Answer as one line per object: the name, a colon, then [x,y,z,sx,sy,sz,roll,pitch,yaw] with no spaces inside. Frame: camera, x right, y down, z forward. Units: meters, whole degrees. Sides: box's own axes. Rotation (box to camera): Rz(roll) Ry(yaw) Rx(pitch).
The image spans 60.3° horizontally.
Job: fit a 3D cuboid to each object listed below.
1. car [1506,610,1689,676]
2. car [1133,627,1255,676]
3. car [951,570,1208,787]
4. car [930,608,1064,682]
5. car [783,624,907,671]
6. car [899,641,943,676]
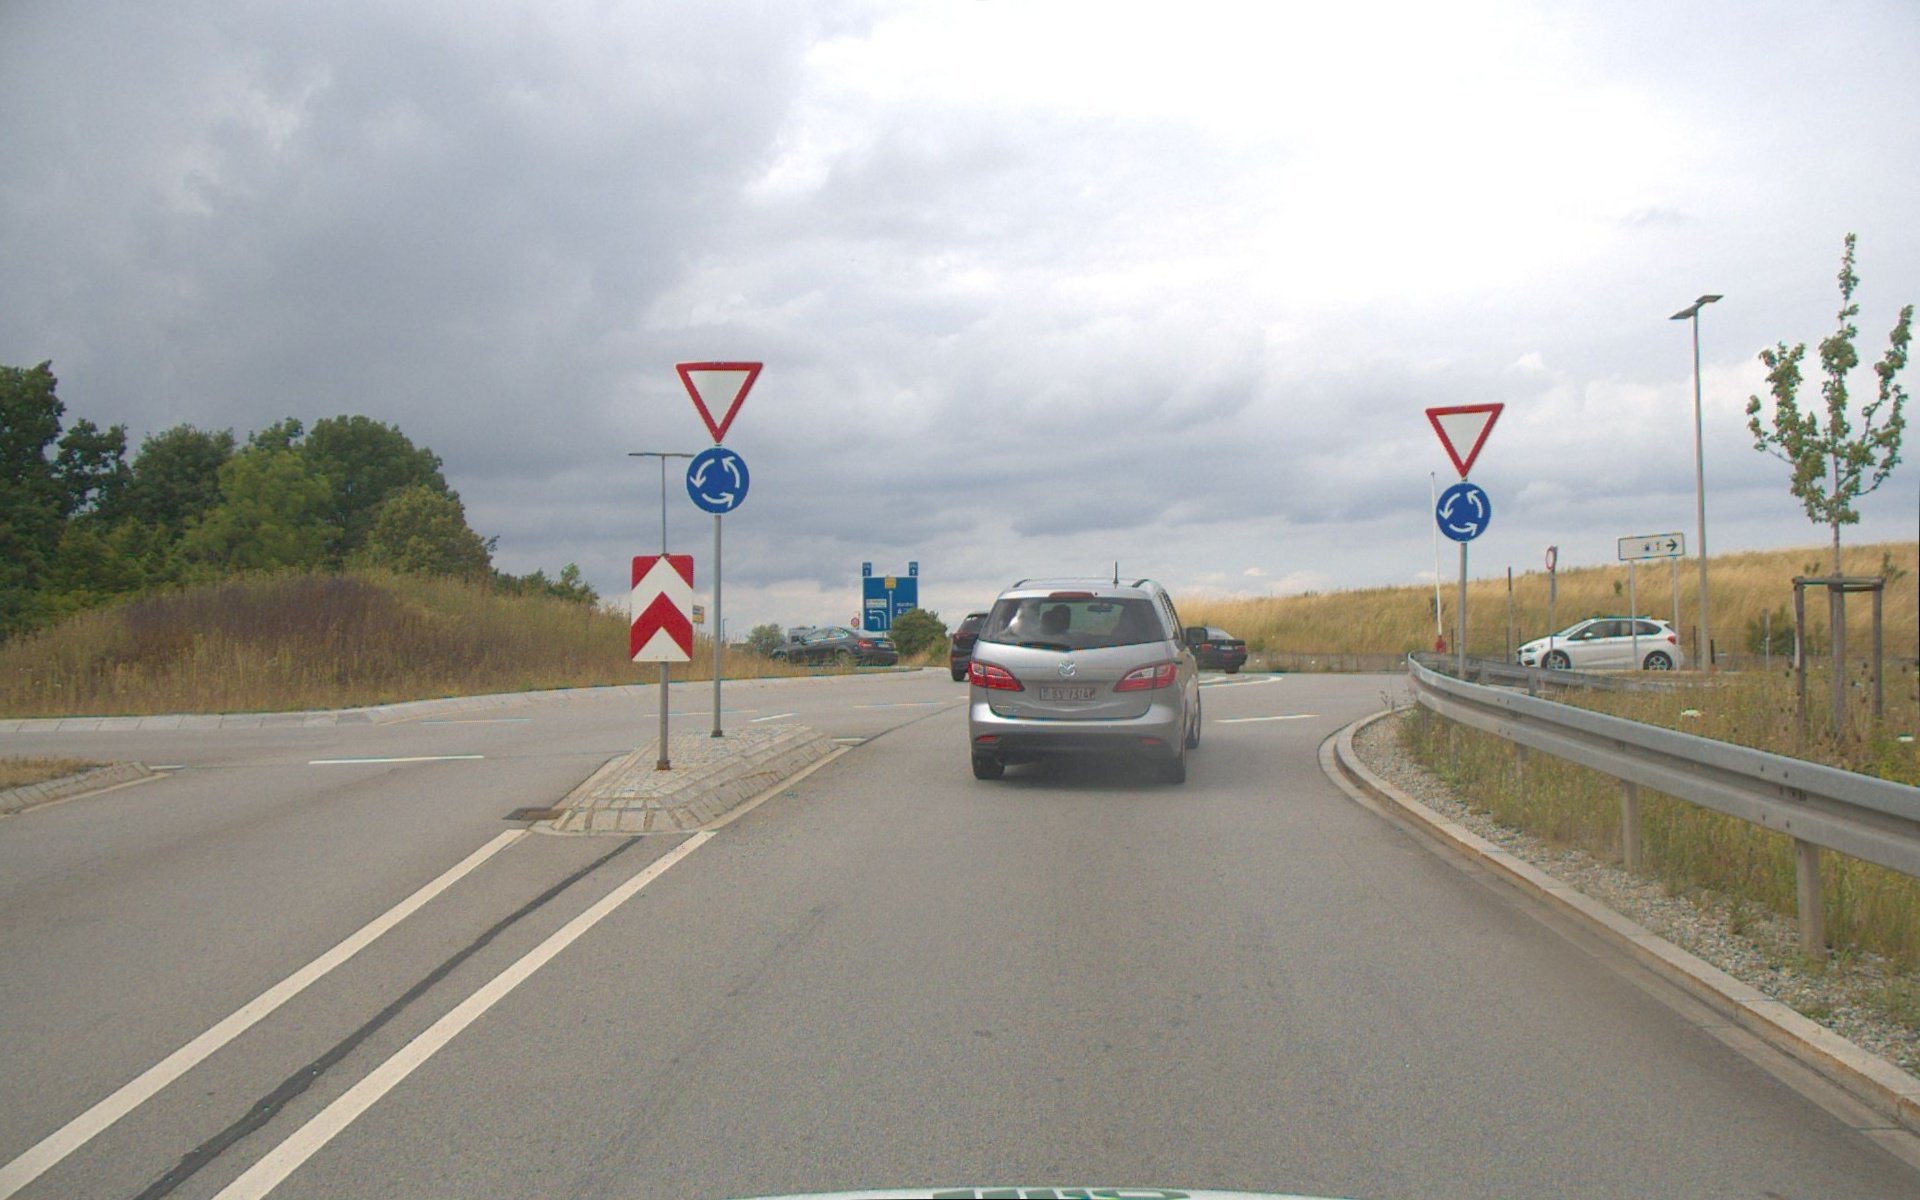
car: [17.199,1.147,44.794,4.319,1.657,1.786,-1,0,8]
car: [6.784,1.496,48.391,1.578,1.311,4.013,-2,-1,-25]
car: [1.180,0.587,14.336,1.870,1.601,4.003,-1,0,9]
car: [0.837,0.915,34.918,1.627,1.402,4.001,-2,-1,19]
car: [-3.612,1.490,51.584,3.931,1.363,1.654,-2,-1,44]
car: [-1.962,2.870,81.818,1.569,1.576,4.035,-2,-1,-10]
